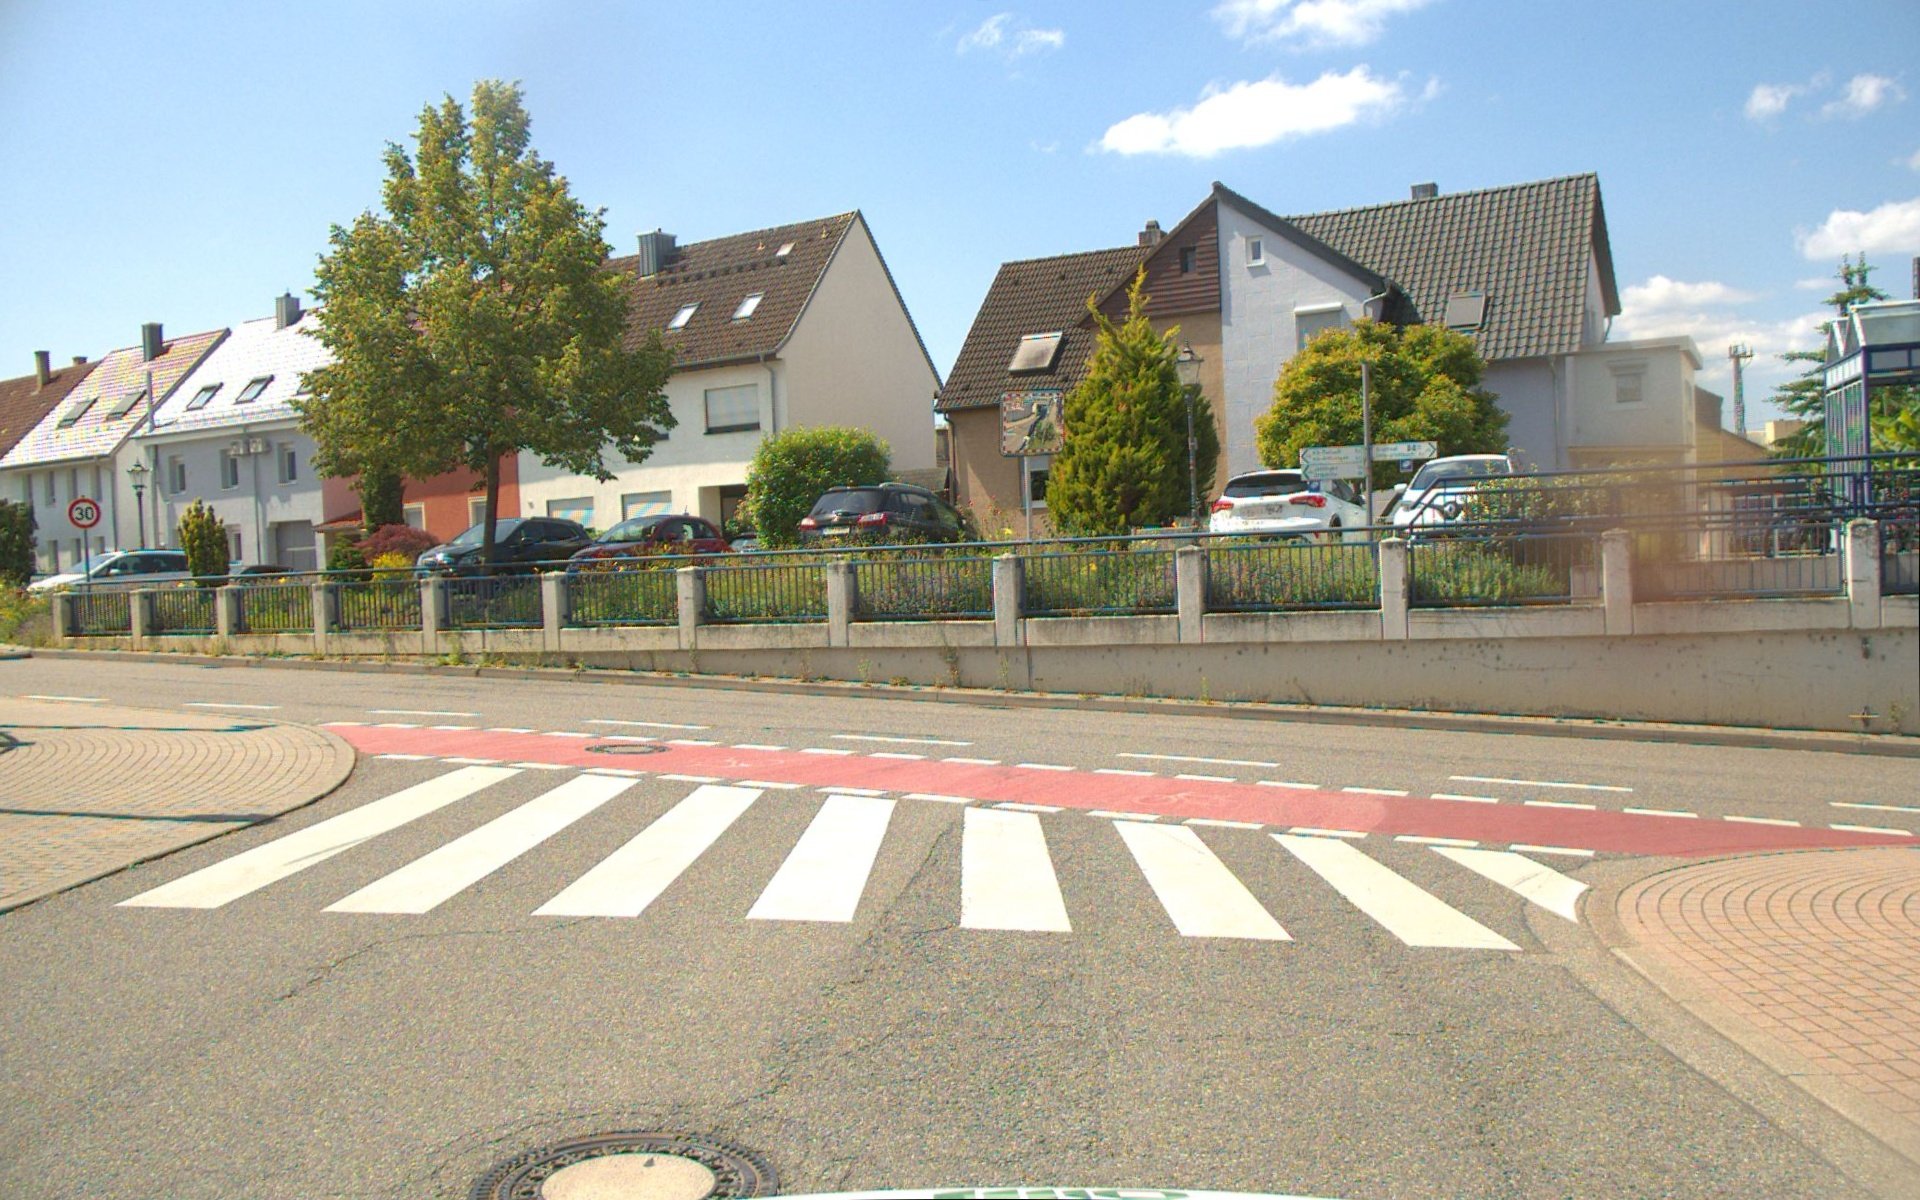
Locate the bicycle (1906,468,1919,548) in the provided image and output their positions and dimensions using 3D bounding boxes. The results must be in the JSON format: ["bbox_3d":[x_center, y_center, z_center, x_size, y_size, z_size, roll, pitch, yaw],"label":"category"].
[{"bbox_3d":[12.244,-1.158,20.670,0.325,1.012,2.077,-1,2,19],"label":"bicycle"}]

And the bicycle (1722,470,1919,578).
[{"bbox_3d":[9.758,-0.846,18.654,2.071,1.145,0.333,-1,1,20],"label":"bicycle"}]

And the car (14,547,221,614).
[{"bbox_3d":[-20.576,-0.476,40.549,1.711,1.514,4.246,2,1,32],"label":"car"}]

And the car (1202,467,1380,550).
[{"bbox_3d":[4.947,-1.322,24.401,1.789,1.037,3.457,2,1,25],"label":"car"}]

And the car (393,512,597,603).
[{"bbox_3d":[-8.851,-0.790,31.722,1.830,1.614,3.607,2,1,25],"label":"car"}]

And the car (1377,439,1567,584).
[{"bbox_3d":[7.292,-1.178,23.285,1.954,1.828,4.193,2,1,25],"label":"car"}]

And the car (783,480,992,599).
[{"bbox_3d":[-1.137,-0.978,27.851,1.830,1.828,3.997,2,1,25],"label":"car"}]

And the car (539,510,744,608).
[{"bbox_3d":[-5.654,-0.719,29.763,1.830,1.614,3.607,2,1,25],"label":"car"}]

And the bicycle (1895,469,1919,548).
[{"bbox_3d":[12.916,-1.225,22.177,0.447,1.012,1.881,-1,2,36],"label":"bicycle"}]
